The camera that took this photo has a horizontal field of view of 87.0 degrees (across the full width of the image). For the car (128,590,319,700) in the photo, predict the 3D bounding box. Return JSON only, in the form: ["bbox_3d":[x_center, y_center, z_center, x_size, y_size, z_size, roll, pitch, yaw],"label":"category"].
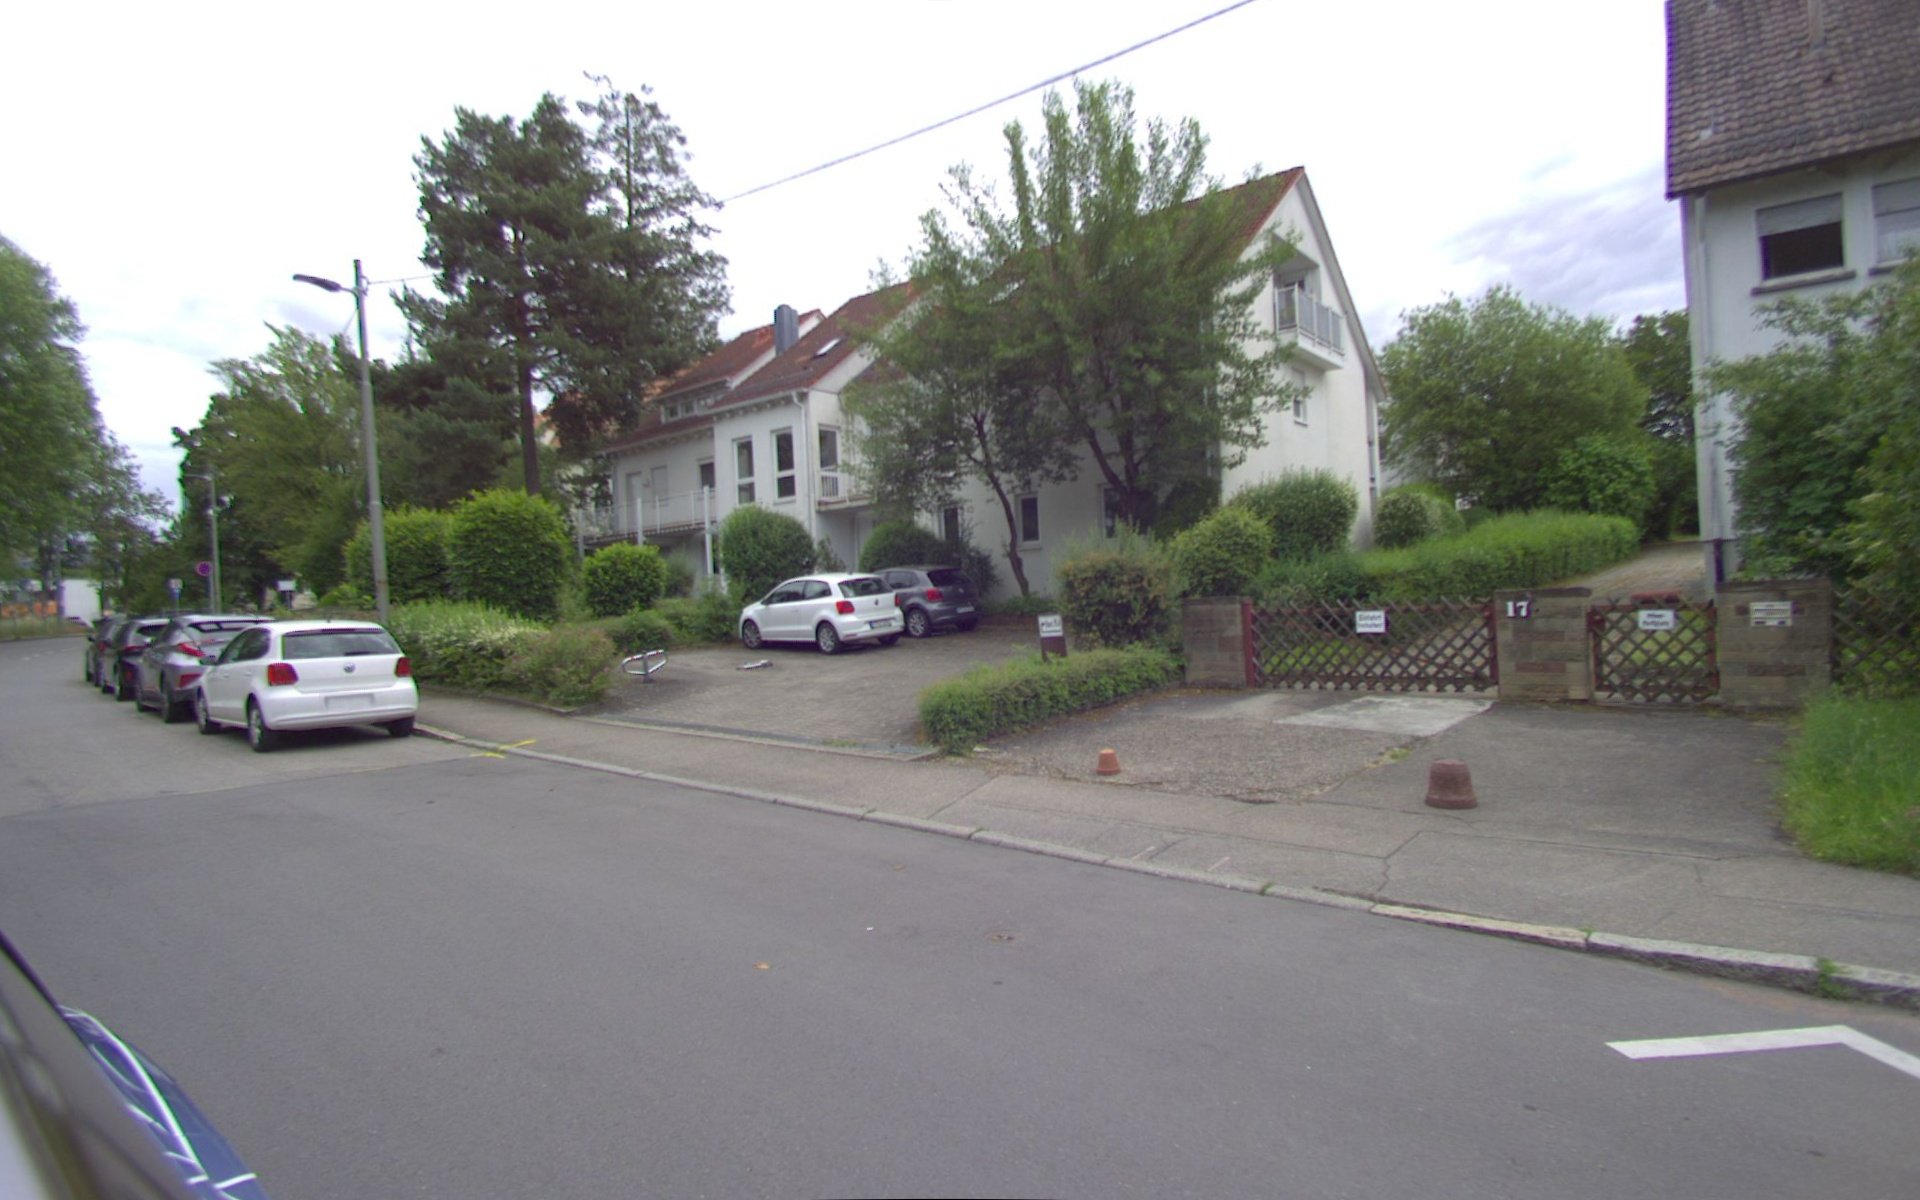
[{"bbox_3d":[-11.529,0.649,15.735,4.129,1.491,1.741,0,-3,45],"label":"car"}]

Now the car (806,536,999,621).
[{"bbox_3d":[-1.306,-0.436,21.856,3.999,1.585,1.802,-2,1,42],"label":"car"}]

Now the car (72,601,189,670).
[{"bbox_3d":[-19.066,0.797,23.195,1.714,1.429,4.507,1,-2,-44],"label":"car"}]

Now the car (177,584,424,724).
[{"bbox_3d":[-8.382,0.617,12.727,3.926,1.491,1.606,-2,-1,41],"label":"car"}]

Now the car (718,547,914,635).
[{"bbox_3d":[-2.895,-0.216,19.906,3.934,1.468,1.684,1,6,44],"label":"car"}]

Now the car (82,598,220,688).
[{"bbox_3d":[-15.700,0.738,19.554,1.630,1.452,4.335,1,1,-45],"label":"car"}]
